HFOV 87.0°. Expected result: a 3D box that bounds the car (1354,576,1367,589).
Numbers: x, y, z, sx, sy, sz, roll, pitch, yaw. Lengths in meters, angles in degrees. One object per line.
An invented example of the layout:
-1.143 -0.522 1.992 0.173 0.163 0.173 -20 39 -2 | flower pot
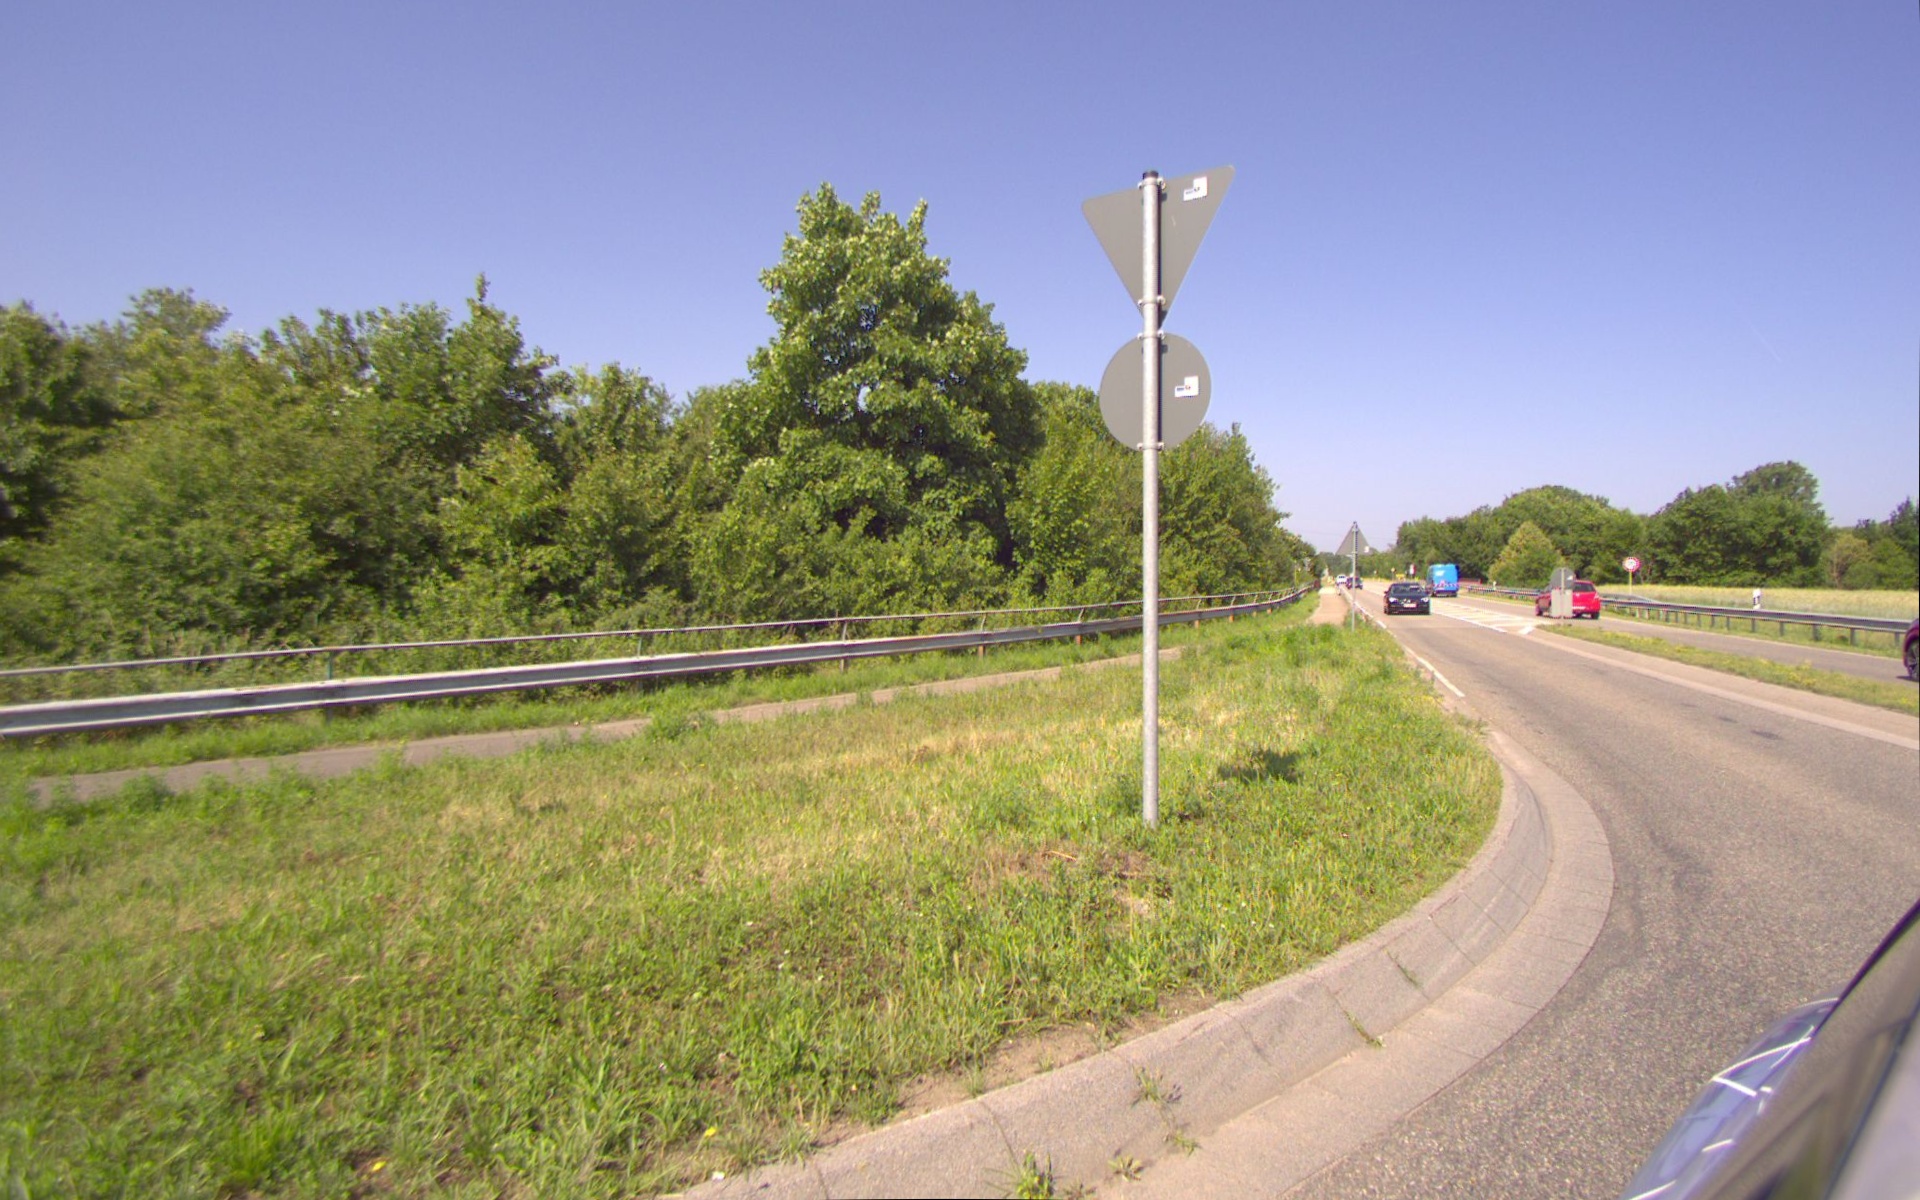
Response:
52.961 -2.290 133.885 1.444 1.668 3.513 -1 0 20 | car

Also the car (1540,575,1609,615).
24.728 -0.253 40.857 1.612 1.509 3.779 1 2 20 | car

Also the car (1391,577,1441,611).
20.489 -0.295 45.643 1.786 1.415 4.151 -1 1 21 | car

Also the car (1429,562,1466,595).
40.250 -1.789 83.702 1.975 2.643 7.243 1 2 20 | car
